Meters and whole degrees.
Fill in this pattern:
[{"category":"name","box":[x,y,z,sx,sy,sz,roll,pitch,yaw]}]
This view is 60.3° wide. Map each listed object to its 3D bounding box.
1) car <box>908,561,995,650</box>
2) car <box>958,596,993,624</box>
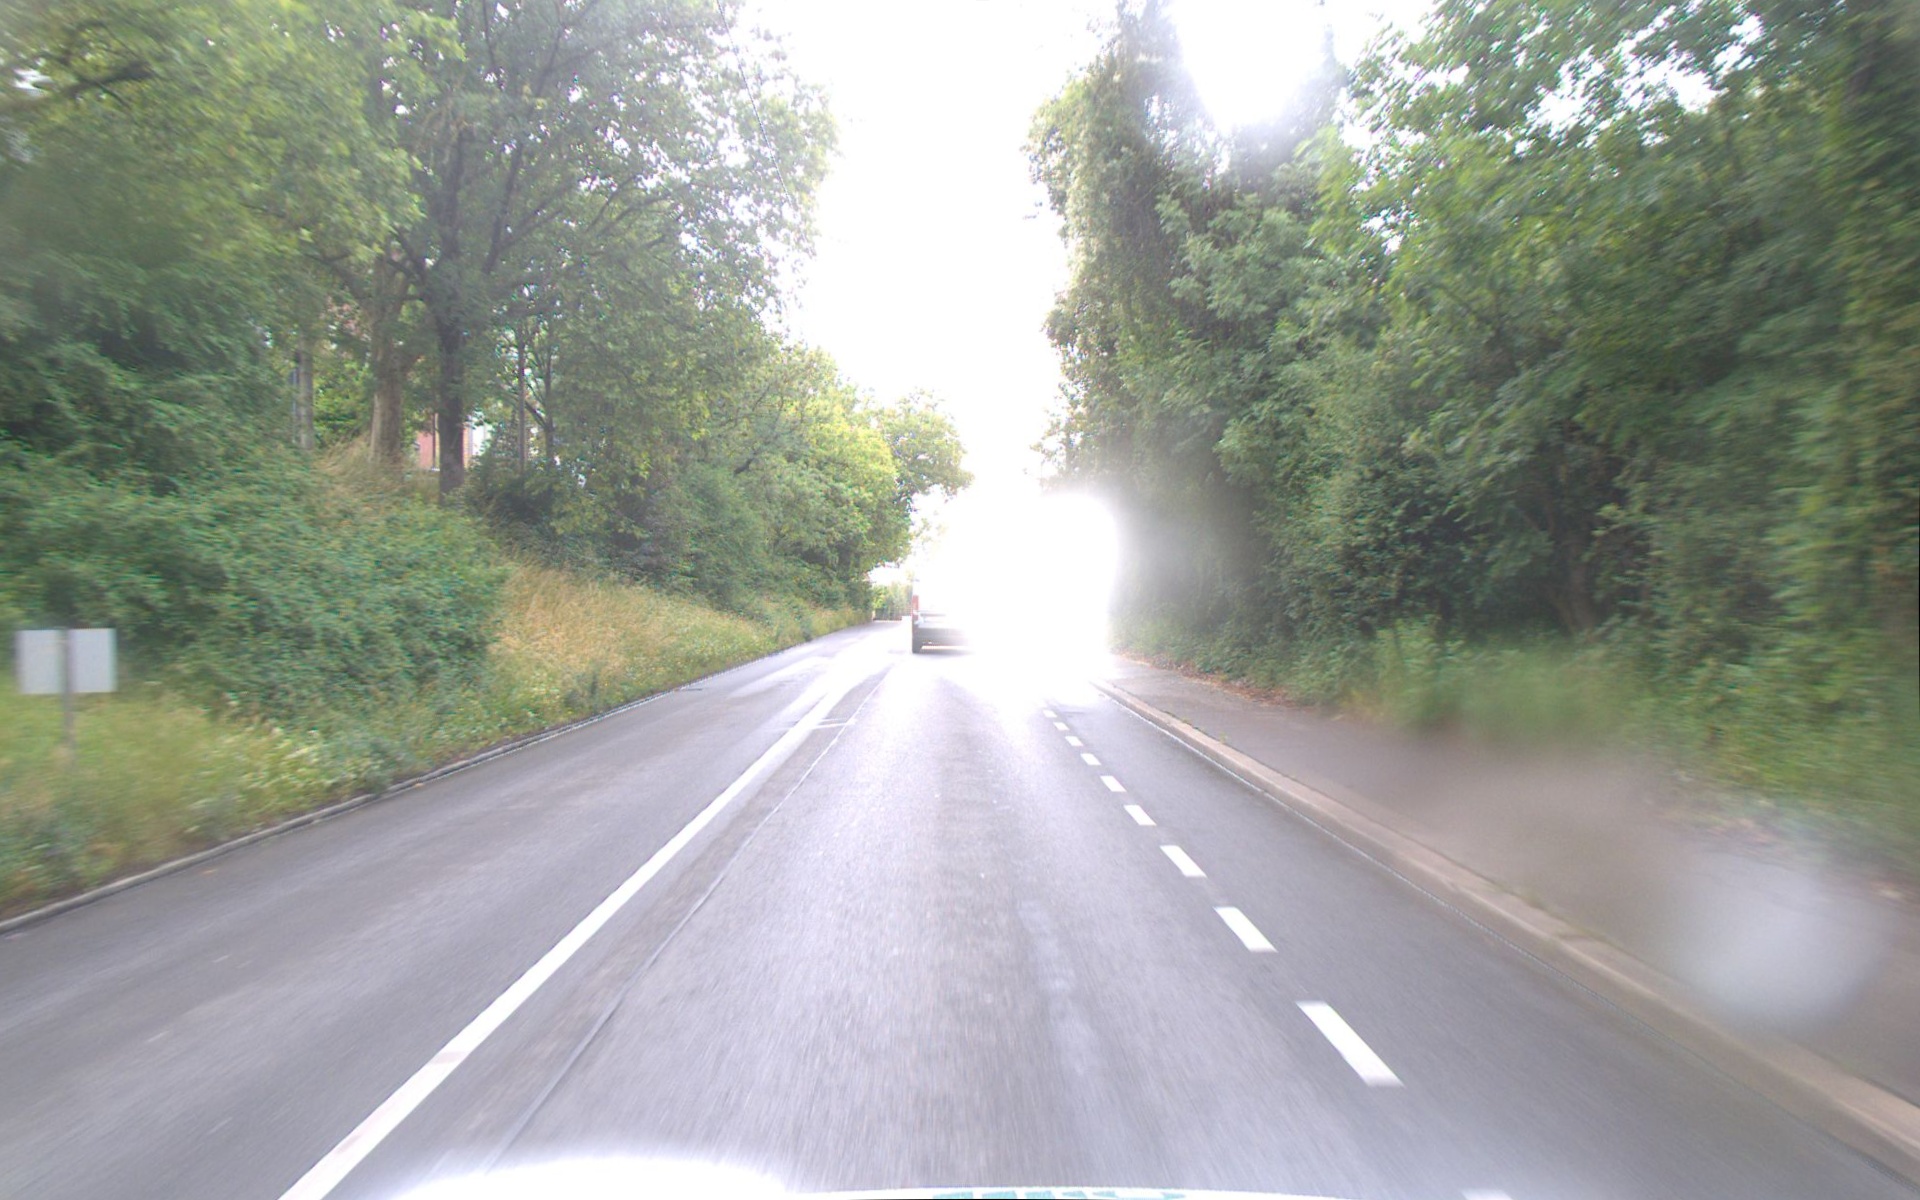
[{"category":"car","box":[-0.252,0.153,44.911,2.192,2.252,4.712,1,0,-1]},{"category":"car","box":[1.039,0.694,114.429,2.192,1.836,4.711,1,0,-2]}]
